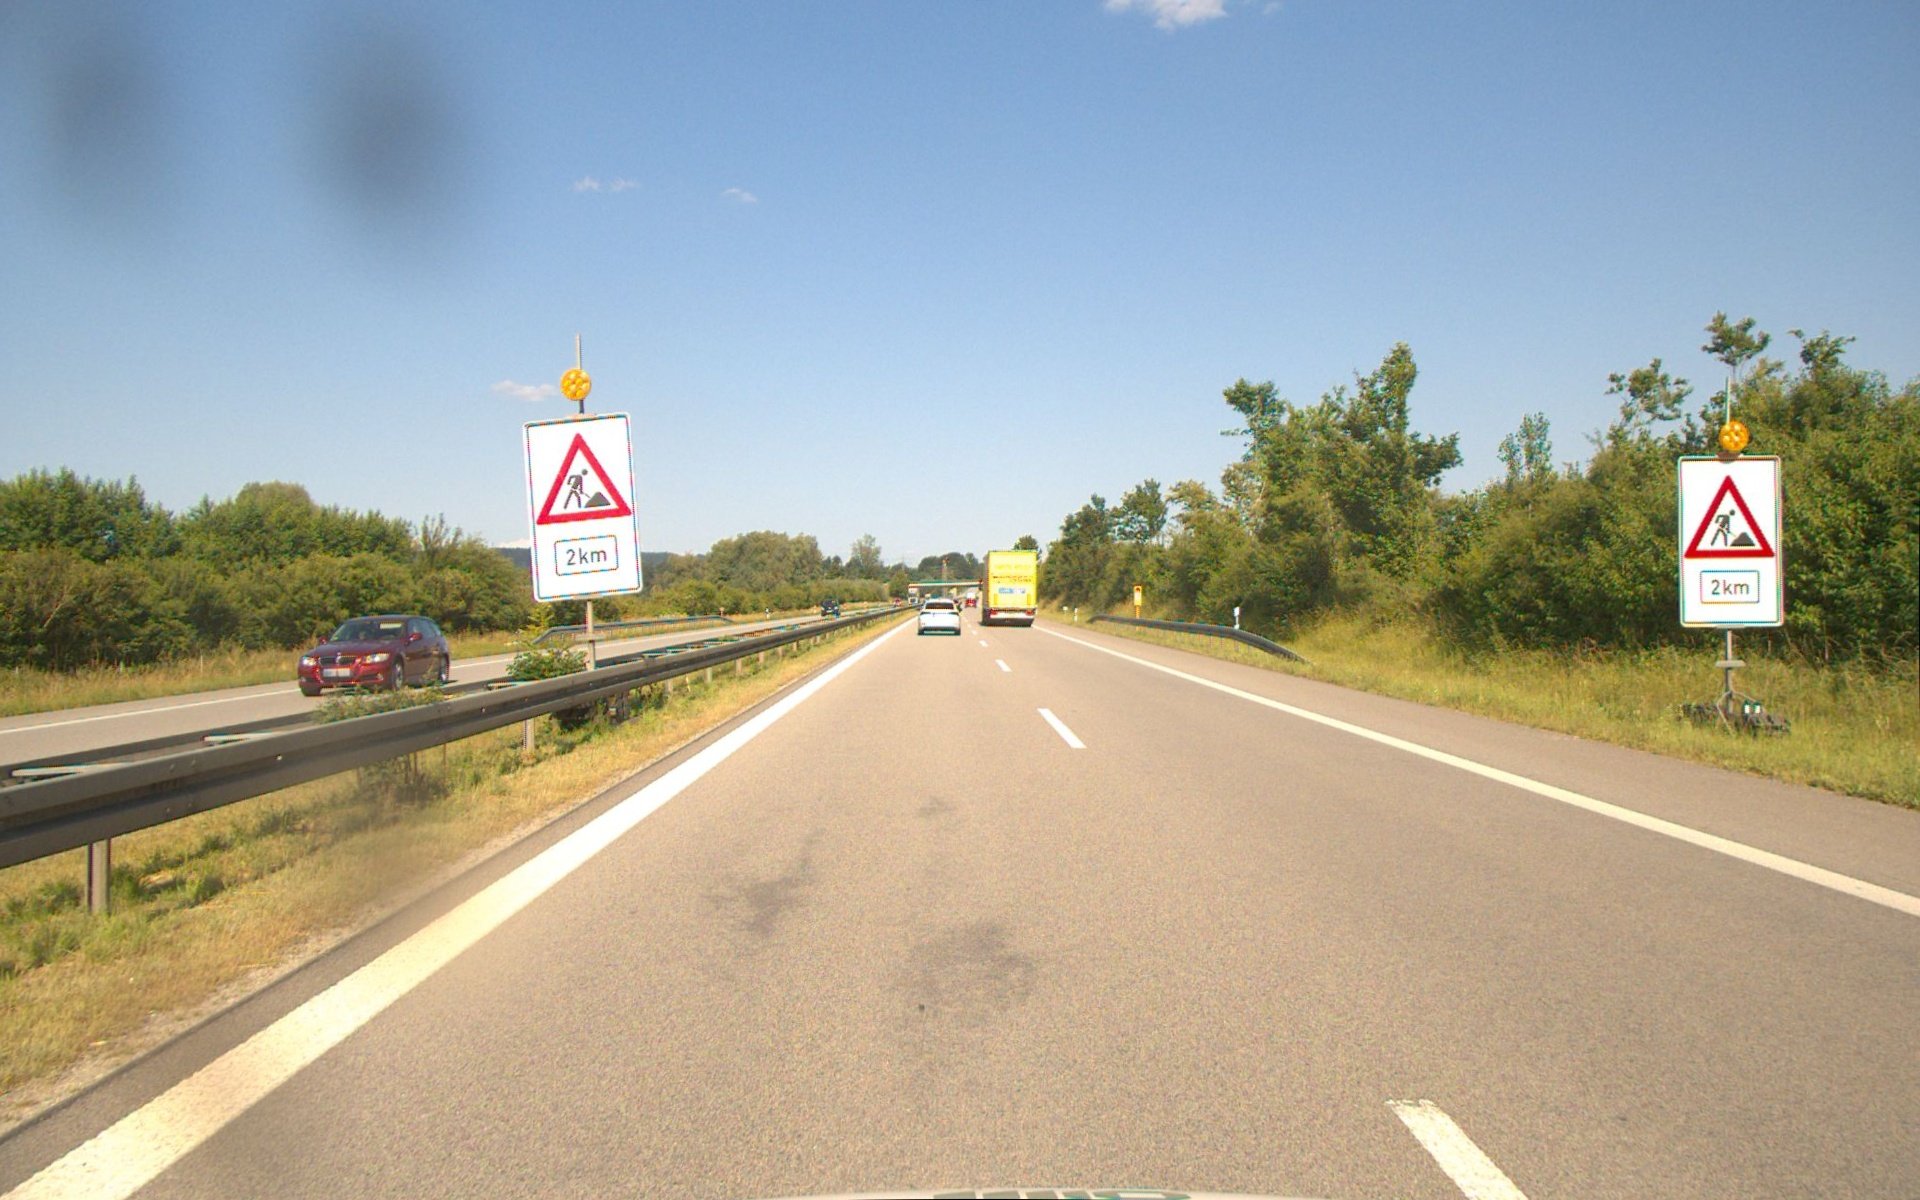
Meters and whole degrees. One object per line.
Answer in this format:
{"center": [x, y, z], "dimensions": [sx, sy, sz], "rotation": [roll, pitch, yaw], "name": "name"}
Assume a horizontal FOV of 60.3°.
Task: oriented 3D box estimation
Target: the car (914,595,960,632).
{"center": [-0.915, 0.536, 68.271], "dimensions": [1.805, 1.440, 4.000], "rotation": [1, 0, 0], "name": "car"}

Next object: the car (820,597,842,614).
{"center": [-12.902, 0.556, 165.375], "dimensions": [1.793, 1.599, 4.655], "rotation": [-2, 0, -1], "name": "car"}

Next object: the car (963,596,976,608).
{"center": [1.503, 0.276, 258.171], "dimensions": [1.863, 1.712, 4.730], "rotation": [2, 0, -1], "name": "car"}

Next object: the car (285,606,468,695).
{"center": [-11.032, 0.905, 31.669], "dimensions": [1.795, 1.422, 4.921], "rotation": [-3, 0, -1], "name": "car"}

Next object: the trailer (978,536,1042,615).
{"center": [2.730, -1.284, 94.324], "dimensions": [3.119, 4.130, 13.185], "rotation": [1, 0, 0], "name": "trailer"}

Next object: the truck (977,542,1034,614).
{"center": [2.705, -1.264, 100.605], "dimensions": [3.104, 4.186, 6.387], "rotation": [1, 0, -1], "name": "truck"}

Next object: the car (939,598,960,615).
{"center": [-0.966, 0.581, 153.178], "dimensions": [1.805, 1.546, 4.000], "rotation": [1, 0, 0], "name": "car"}
